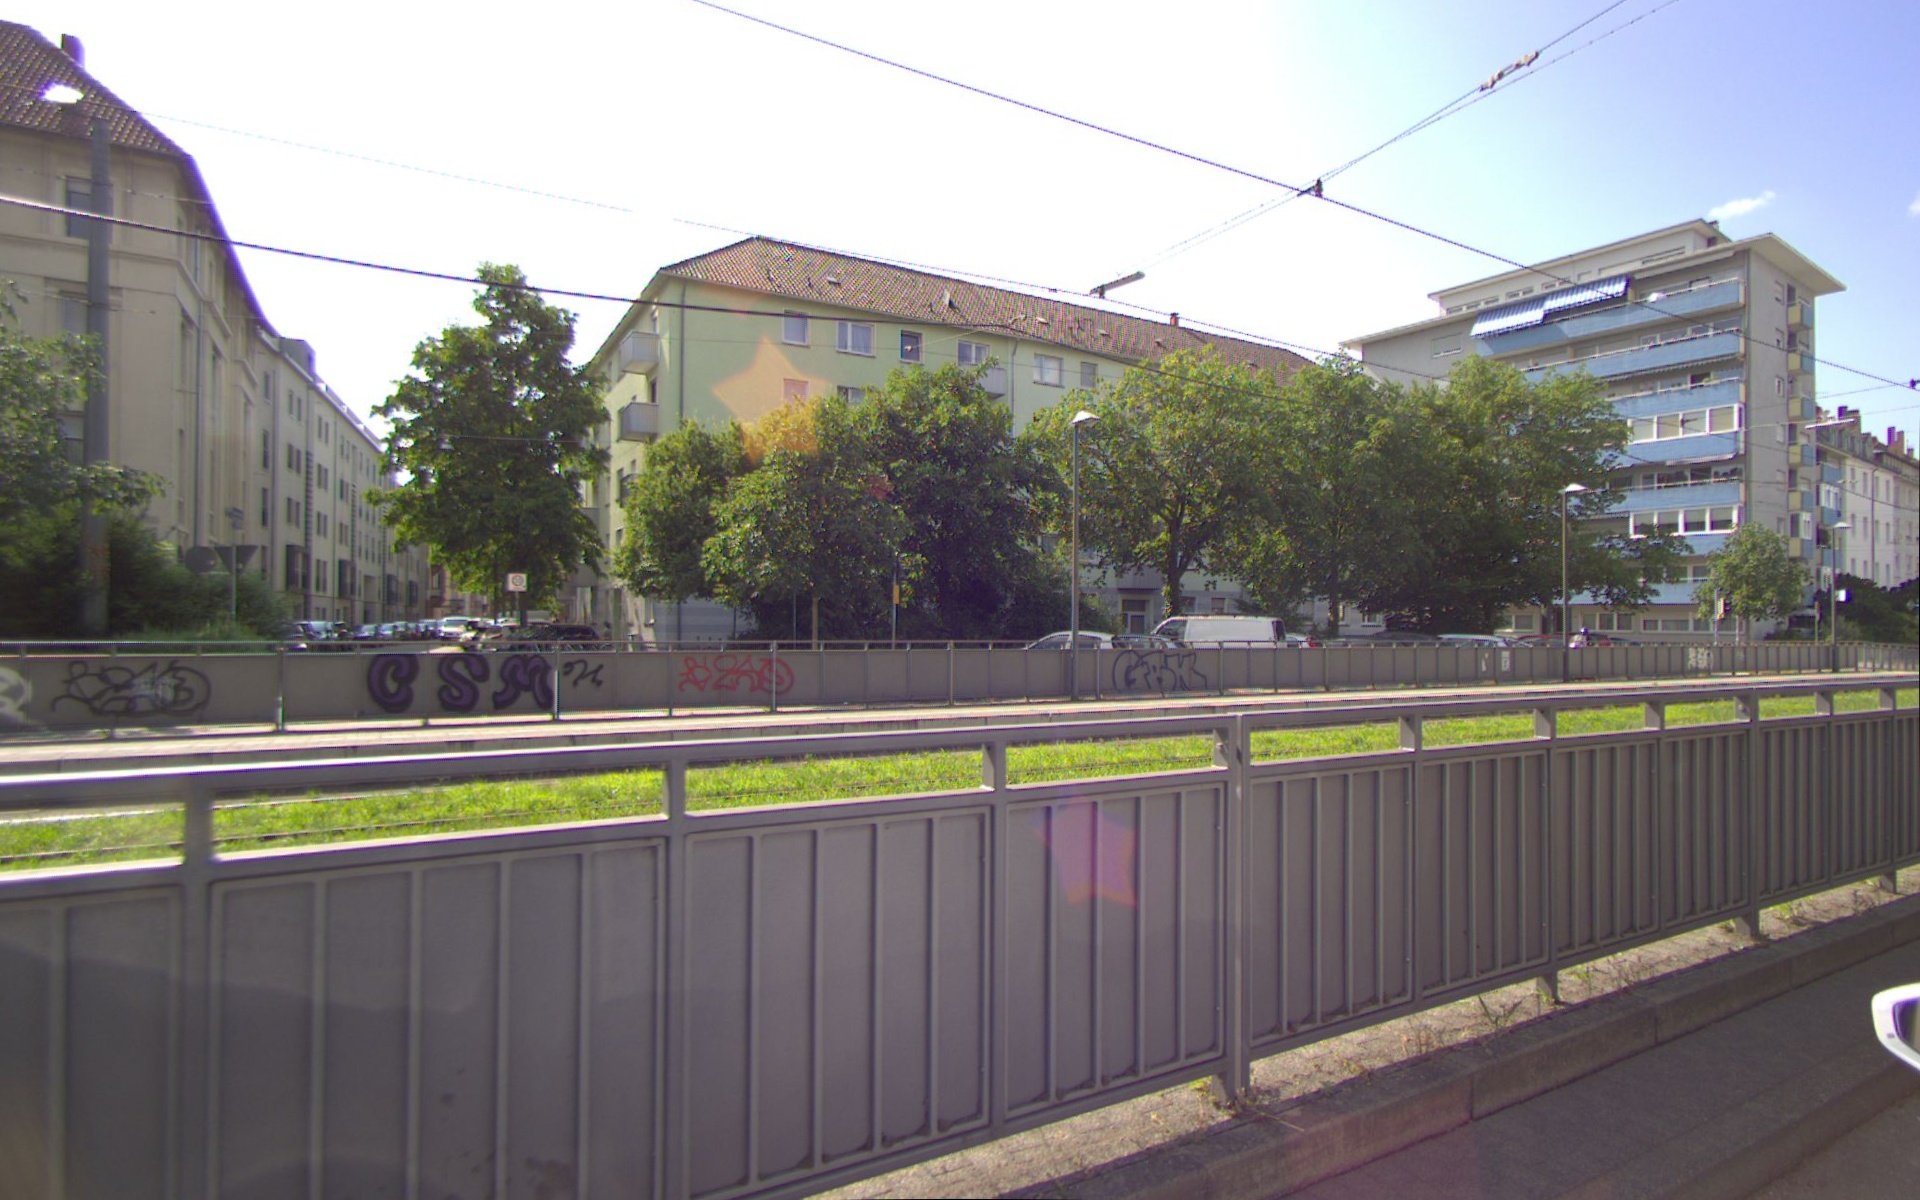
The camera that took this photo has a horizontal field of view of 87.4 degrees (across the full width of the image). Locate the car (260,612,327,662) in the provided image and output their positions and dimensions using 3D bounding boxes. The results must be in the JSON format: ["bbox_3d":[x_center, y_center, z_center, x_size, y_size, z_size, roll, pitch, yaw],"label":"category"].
[{"bbox_3d":[-25.702,1.457,38.869,1.802,1.855,3.970,2,-3,-29],"label":"car"}]

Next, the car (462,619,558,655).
[{"bbox_3d":[-21.422,1.778,47.948,1.837,1.639,3.998,-1,-2,24],"label":"car"}]

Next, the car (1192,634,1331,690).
[{"bbox_3d":[9.332,1.878,31.151,3.880,1.600,1.716,-1,-1,28],"label":"car"}]

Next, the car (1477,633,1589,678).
[{"bbox_3d":[21.616,2.052,38.028,3.601,1.600,1.646,-1,-1,30],"label":"car"}]

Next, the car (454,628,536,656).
[{"bbox_3d":[-23.174,2.103,50.164,1.549,1.340,3.614,-1,-2,24],"label":"car"}]

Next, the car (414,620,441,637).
[{"bbox_3d":[-50.068,2.667,94.474,1.797,1.498,3.979,2,-3,-22],"label":"car"}]

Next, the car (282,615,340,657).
[{"bbox_3d":[-28.106,1.581,43.622,1.802,1.740,3.970,2,-3,-29],"label":"car"}]

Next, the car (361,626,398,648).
[{"bbox_3d":[-40.129,2.579,69.480,1.799,1.498,3.976,2,-3,-25],"label":"car"}]

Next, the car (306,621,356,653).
[{"bbox_3d":[-33.248,1.996,53.205,1.800,1.623,3.974,2,-3,-26],"label":"car"}]

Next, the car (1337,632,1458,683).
[{"bbox_3d":[14.684,1.905,33.739,3.601,1.600,1.646,-1,-1,30],"label":"car"}]

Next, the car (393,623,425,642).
[{"bbox_3d":[-45.742,2.728,83.450,1.796,1.498,3.982,1,-3,-21],"label":"car"}]

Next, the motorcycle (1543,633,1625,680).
[{"bbox_3d":[18.605,1.668,29.928,2.487,1.357,1.010,1,-2,-30],"label":"motorcycle"}]

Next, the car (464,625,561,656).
[{"bbox_3d":[-20.101,1.804,45.299,1.549,1.340,3.998,-1,-2,24],"label":"car"}]

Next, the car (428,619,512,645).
[{"bbox_3d":[-27.174,1.775,55.830,1.837,1.383,3.998,-1,-2,24],"label":"car"}]

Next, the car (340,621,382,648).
[{"bbox_3d":[-37.146,2.174,62.393,1.799,1.648,3.976,2,-3,-25],"label":"car"}]

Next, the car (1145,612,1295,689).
[{"bbox_3d":[7.583,1.415,29.349,3.880,2.097,2.047,-1,-1,29],"label":"car"}]

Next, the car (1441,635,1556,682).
[{"bbox_3d":[19.592,2.086,36.624,3.601,1.600,1.646,-1,-1,30],"label":"car"}]

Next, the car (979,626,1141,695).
[{"bbox_3d":[2.655,1.550,26.595,3.923,1.662,1.826,0,0,23],"label":"car"}]

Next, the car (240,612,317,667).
[{"bbox_3d":[-23.190,1.360,34.304,1.802,1.756,3.970,2,-3,-29],"label":"car"}]

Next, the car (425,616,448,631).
[{"bbox_3d":[-55.116,2.485,105.753,1.797,1.498,3.979,2,-3,-22],"label":"car"}]

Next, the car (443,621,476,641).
[{"bbox_3d":[-35.253,2.175,70.825,1.847,1.383,3.978,1,-2,-24],"label":"car"}]

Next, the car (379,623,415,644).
[{"bbox_3d":[-42.378,2.551,75.656,1.797,1.498,3.980,2,-3,-22],"label":"car"}]

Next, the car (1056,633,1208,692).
[{"bbox_3d":[4.807,1.703,28.198,3.926,1.505,1.608,0,-1,27],"label":"car"}]

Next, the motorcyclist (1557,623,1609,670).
[{"bbox_3d":[18.570,1.373,29.948,0.974,1.357,0.934,1,-2,-29],"label":"motorcyclist"}]

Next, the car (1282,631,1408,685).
[{"bbox_3d":[12.364,1.818,32.286,3.601,1.600,1.646,-1,-1,30],"label":"car"}]

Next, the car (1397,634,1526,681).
[{"bbox_3d":[17.500,1.964,35.098,3.957,1.534,1.606,-1,-2,31],"label":"car"}]
